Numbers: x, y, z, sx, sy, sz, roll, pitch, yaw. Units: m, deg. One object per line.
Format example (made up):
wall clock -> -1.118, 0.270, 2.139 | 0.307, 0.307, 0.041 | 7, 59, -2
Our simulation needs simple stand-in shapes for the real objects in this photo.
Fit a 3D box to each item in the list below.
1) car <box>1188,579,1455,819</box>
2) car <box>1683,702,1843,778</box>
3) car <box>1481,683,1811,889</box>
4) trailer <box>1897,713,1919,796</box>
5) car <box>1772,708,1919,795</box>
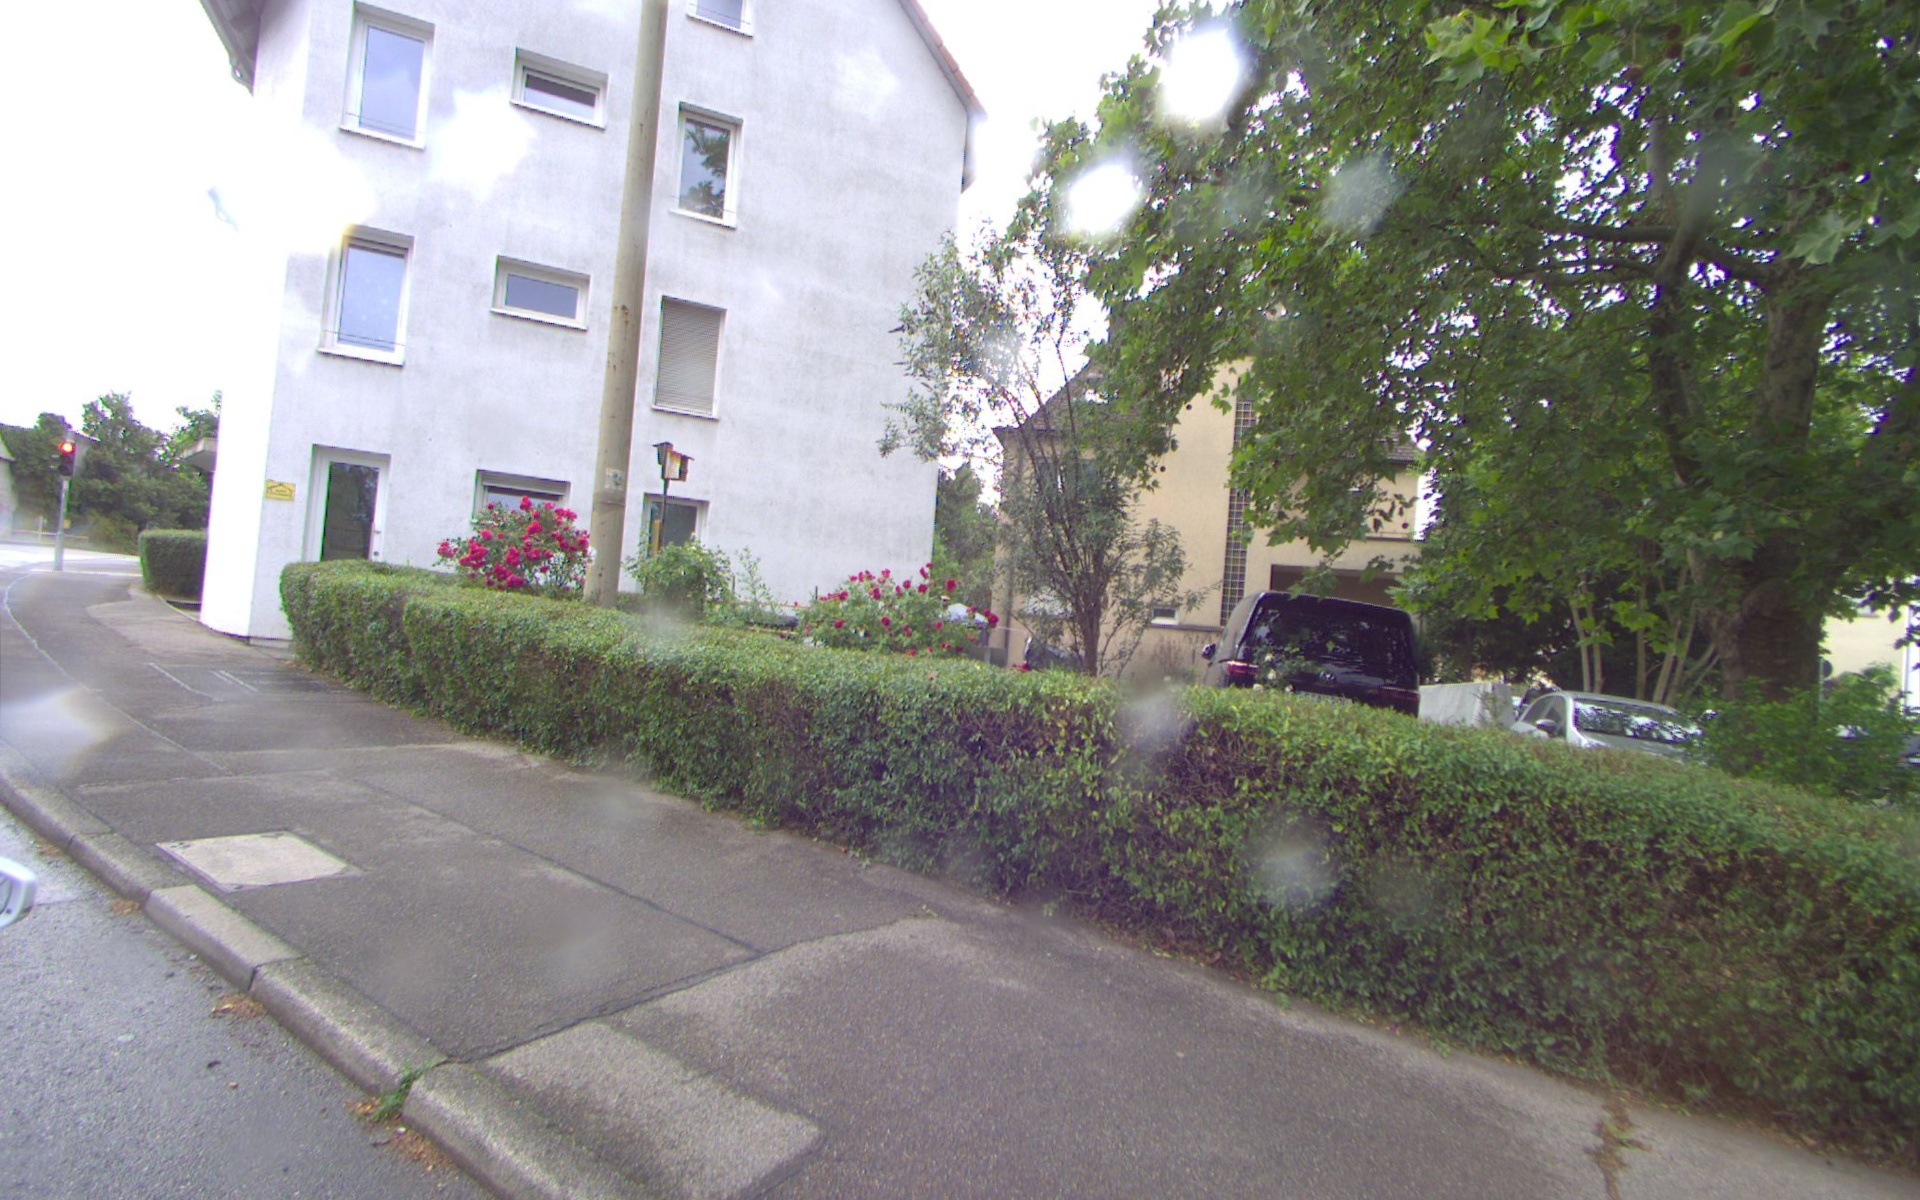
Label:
car -> 3.755, 0.987, 11.309 | 1.962, 1.955, 4.419 | 6, -1, 11
car -> 26.344, 4.541, 33.241 | 1.962, 1.861, 4.584 | 6, -1, 9
car -> 7.383, 1.875, 11.352 | 1.788, 1.599, 4.003 | 6, -2, 16
trailer -> 24.716, 3.913, 23.981 | 1.640, 2.037, 3.494 | 6, -1, 8
car -> 25.260, 4.201, 27.995 | 1.962, 1.861, 4.584 | 6, -1, 9
